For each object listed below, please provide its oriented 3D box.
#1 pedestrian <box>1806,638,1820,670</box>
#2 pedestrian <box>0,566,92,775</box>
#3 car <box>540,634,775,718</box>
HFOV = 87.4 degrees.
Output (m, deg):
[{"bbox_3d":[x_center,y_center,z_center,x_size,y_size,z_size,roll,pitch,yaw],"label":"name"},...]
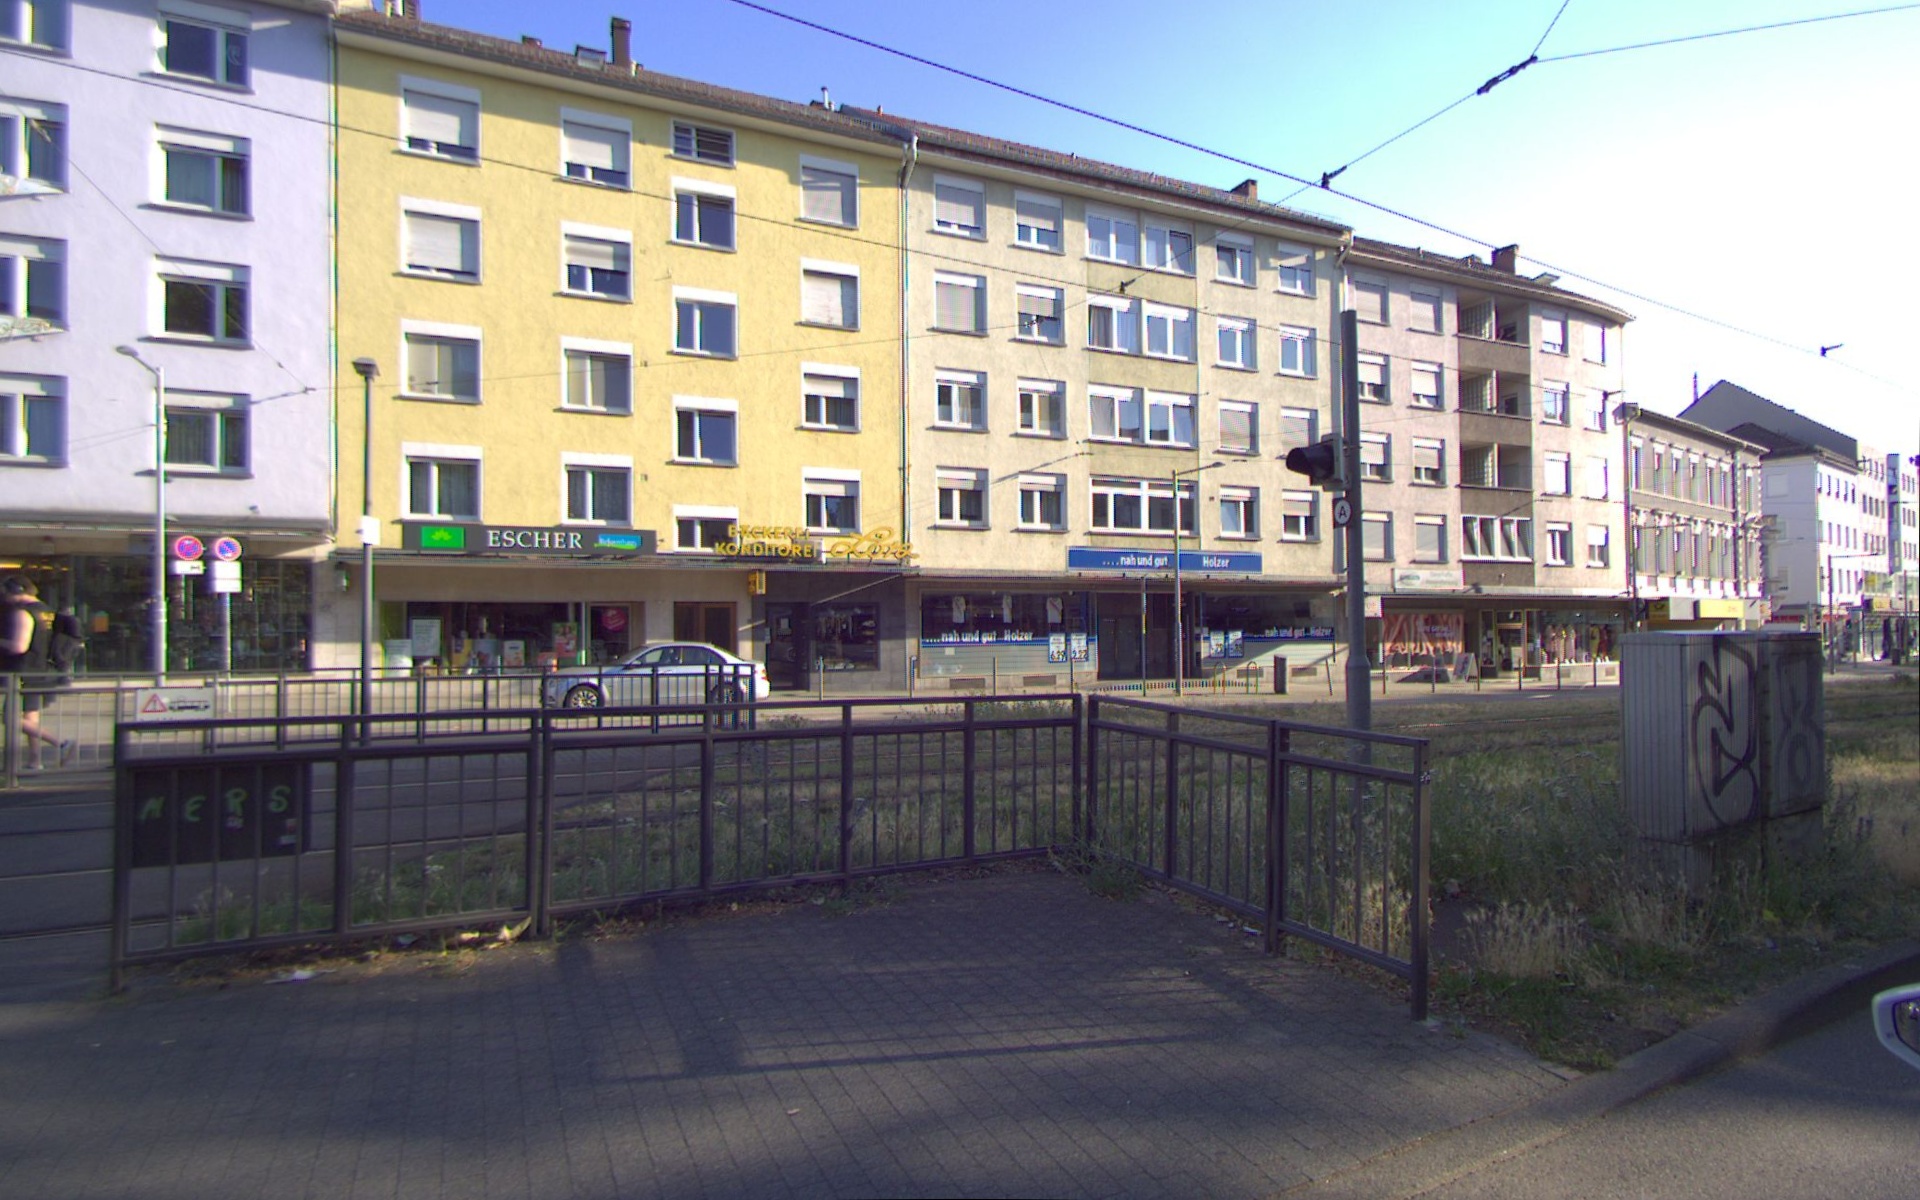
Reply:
[{"bbox_3d":[47.278,3.002,55.661,0.502,1.736,0.424,1,-2,-28],"label":"pedestrian"},{"bbox_3d":[-8.647,0.647,9.434,0.583,1.873,0.738,1,-2,-31],"label":"pedestrian"},{"bbox_3d":[-6.209,1.498,20.669,4.354,1.498,1.986,1,0,-27],"label":"car"}]
